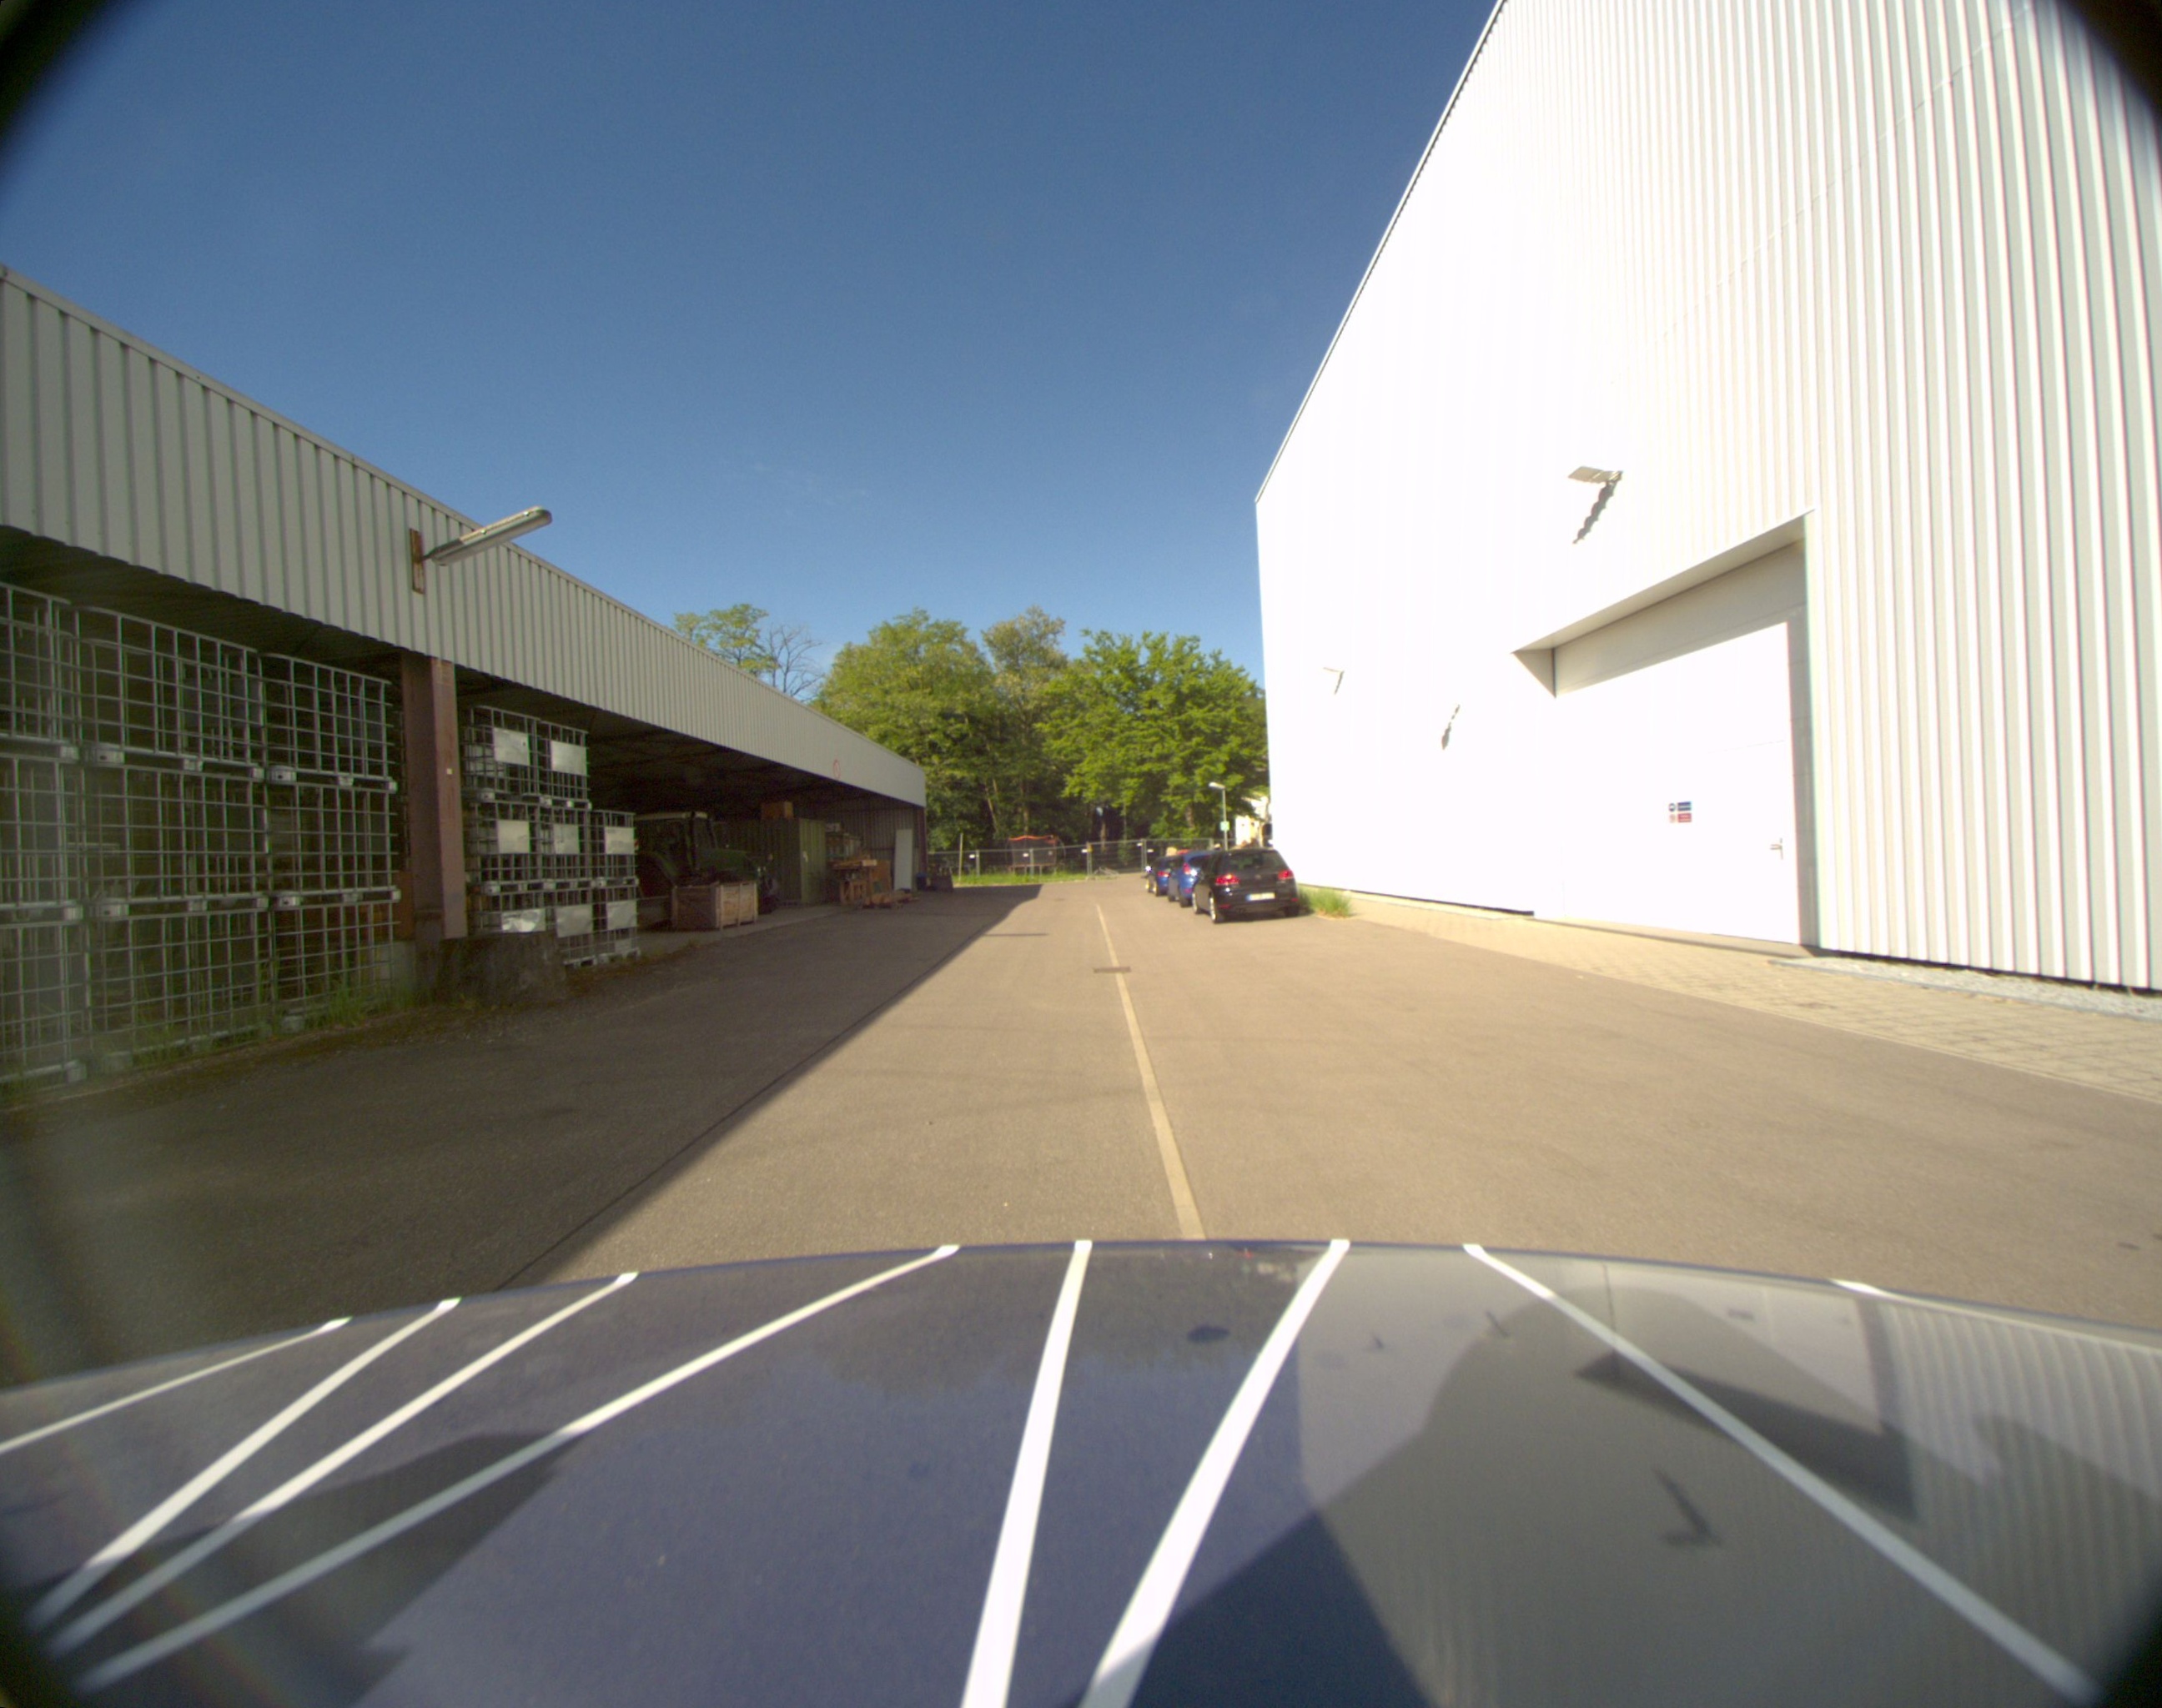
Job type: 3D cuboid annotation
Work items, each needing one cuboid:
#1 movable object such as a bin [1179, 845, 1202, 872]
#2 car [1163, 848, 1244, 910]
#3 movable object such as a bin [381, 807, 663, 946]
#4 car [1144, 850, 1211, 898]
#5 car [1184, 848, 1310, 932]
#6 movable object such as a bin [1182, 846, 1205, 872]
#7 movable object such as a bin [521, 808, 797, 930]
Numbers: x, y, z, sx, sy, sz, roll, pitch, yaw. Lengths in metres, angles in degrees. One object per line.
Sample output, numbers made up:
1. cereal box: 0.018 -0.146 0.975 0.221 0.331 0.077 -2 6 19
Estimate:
1. movable object such as a bin: 6.324 0.265 44.005 1.141 1.469 1.280 -1 0 1
2. car: 3.351 0.658 21.398 1.552 1.480 3.522 -4 0 -1
3. movable object such as a bin: -12.624 0.495 17.459 4.537 2.814 2.497 -2 0 1
4. car: 3.328 0.674 26.909 1.716 1.440 3.798 -4 0 -1
5. car: 3.464 0.693 16.654 1.760 1.437 4.315 -5 0 1
6. movable object such as a bin: 6.300 0.267 42.641 1.141 1.426 1.289 -1 0 1
7. movable object such as a bin: -11.257 0.391 20.725 5.848 2.908 2.820 -2 0 1
